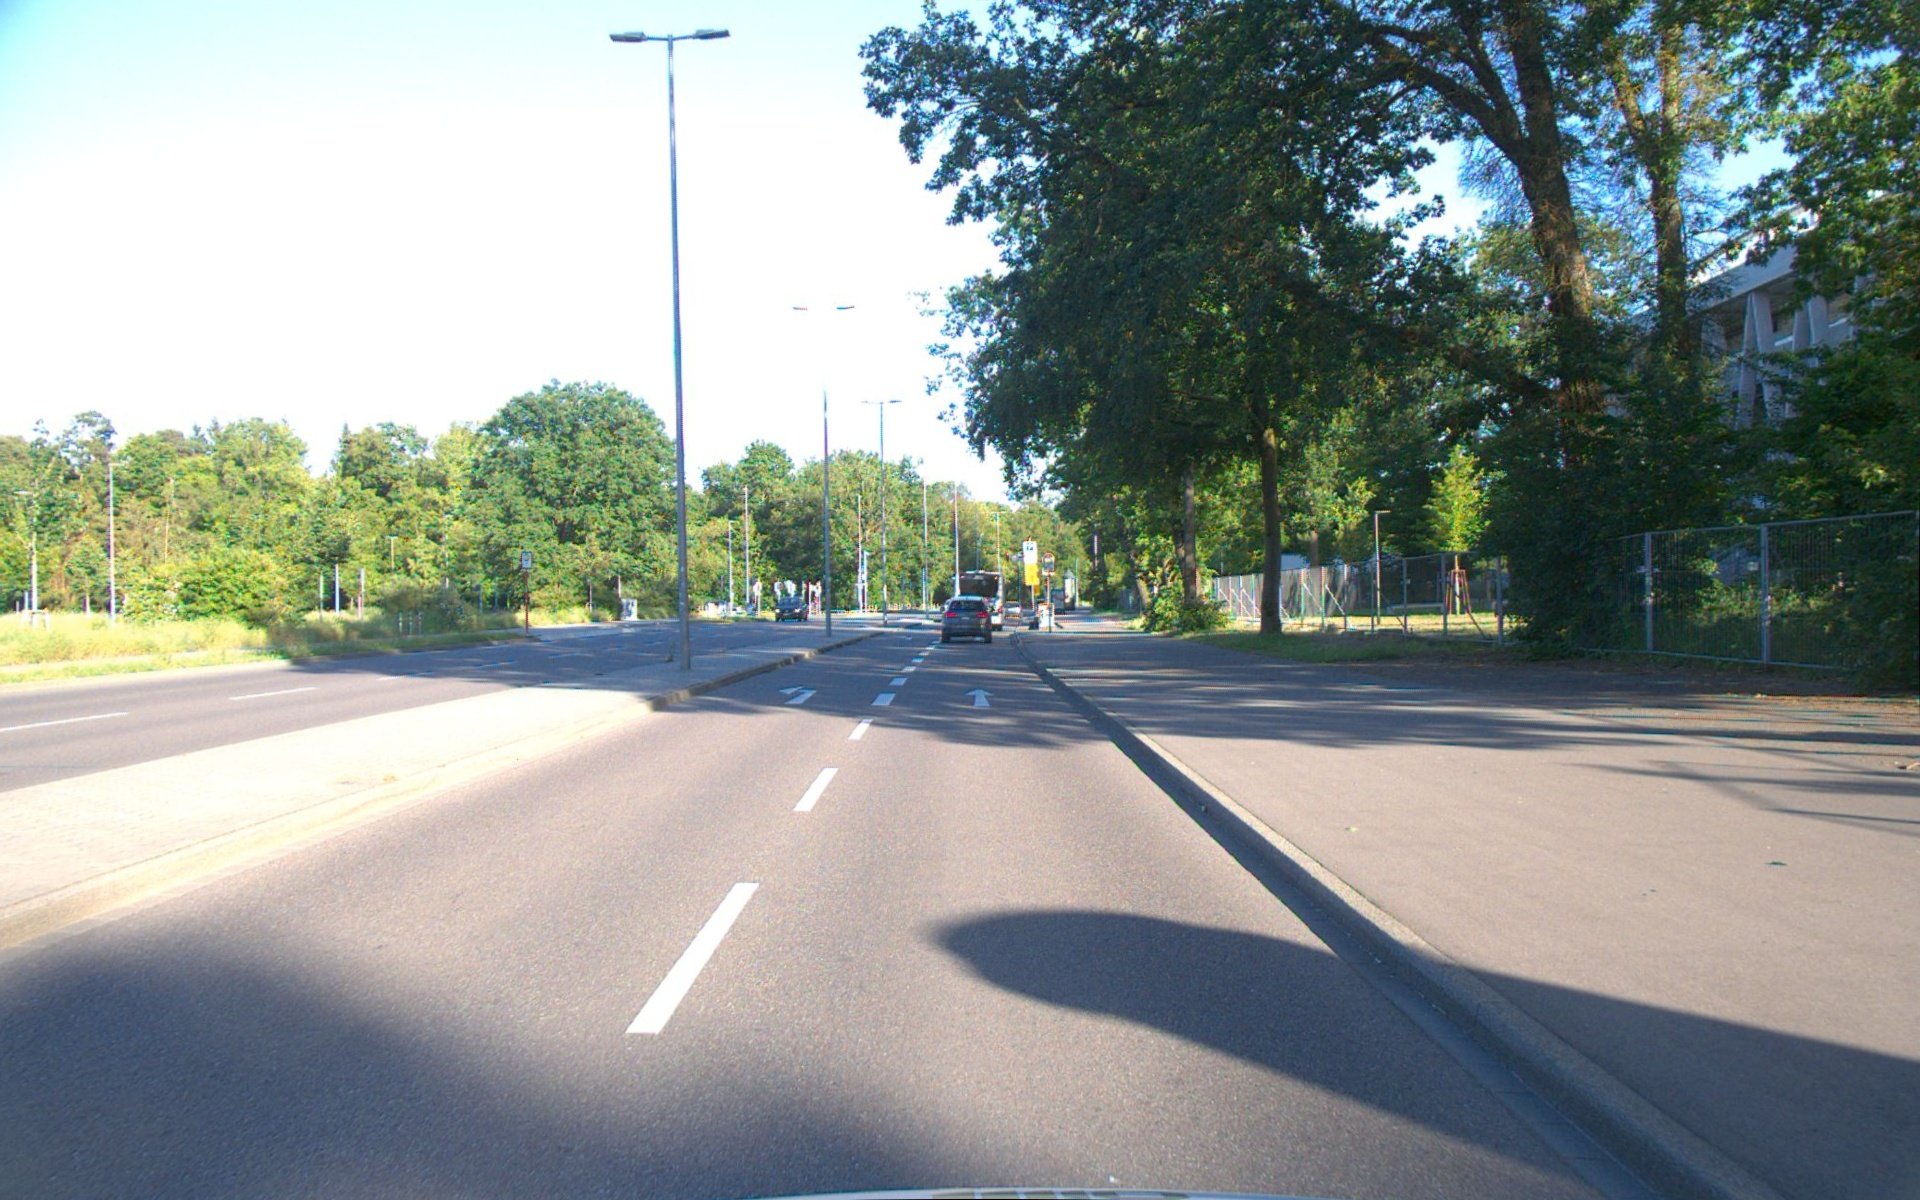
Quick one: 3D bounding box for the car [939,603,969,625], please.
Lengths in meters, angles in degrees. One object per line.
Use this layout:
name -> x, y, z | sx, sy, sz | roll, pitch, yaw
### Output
car -> -0.434, 0.976, 115.260 | 1.798, 1.545, 4.002 | 0, 0, 4

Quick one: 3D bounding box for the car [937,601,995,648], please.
car -> 0.250, 0.895, 61.295 | 1.859, 1.660, 4.002 | 1, 0, 4

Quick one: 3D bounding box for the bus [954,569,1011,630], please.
bus -> 1.276, 0.056, 88.101 | 2.540, 3.041, 9.330 | 1, -1, 4

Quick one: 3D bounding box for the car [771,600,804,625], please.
car -> -11.924, 0.849, 114.752 | 1.746, 1.721, 4.702 | 1, 0, 0

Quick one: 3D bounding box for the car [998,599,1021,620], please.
car -> 4.218, 0.804, 140.913 | 1.870, 1.758, 4.580 | 1, -1, 3
